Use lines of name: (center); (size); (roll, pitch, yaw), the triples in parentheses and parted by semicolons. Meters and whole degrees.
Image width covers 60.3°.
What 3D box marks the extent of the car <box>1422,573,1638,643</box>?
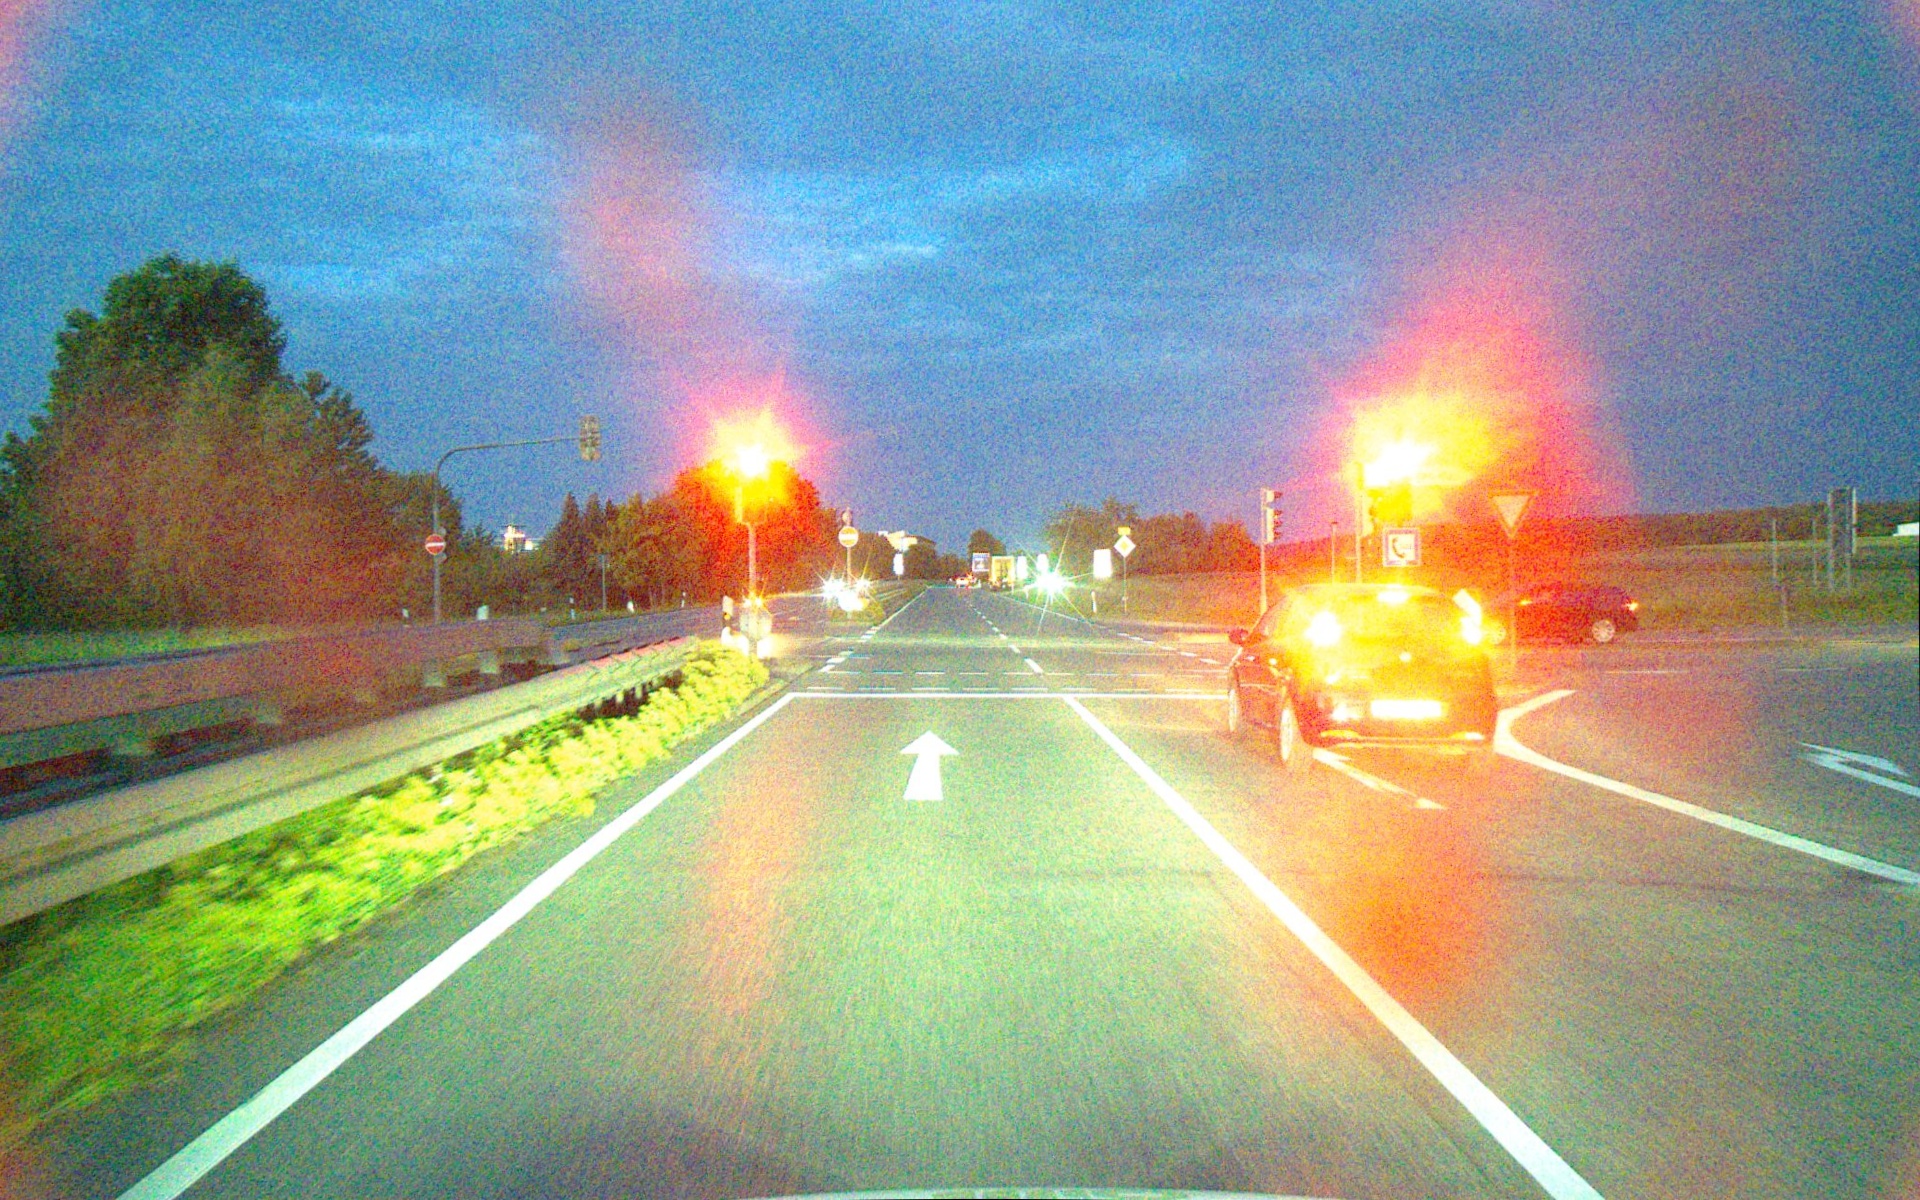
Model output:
car: (13.735, 0.176, 40.038); (4.507, 1.547, 2.000); (-1, 1, -1)

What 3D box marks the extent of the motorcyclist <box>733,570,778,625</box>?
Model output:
motorcyclist: (-6.133, -0.093, 49.566); (1.121, 1.612, 0.966); (-1, 1, -22)

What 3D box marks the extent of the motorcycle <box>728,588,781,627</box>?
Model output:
motorcycle: (-6.195, 0.214, 49.740); (0.965, 1.117, 2.492); (-1, 1, -22)

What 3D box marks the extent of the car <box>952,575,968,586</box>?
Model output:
car: (-0.017, -3.081, 255.425); (2.228, 1.660, 3.999); (-1, 1, -2)

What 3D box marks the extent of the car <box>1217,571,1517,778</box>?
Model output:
car: (3.379, 0.535, 14.494); (1.636, 1.547, 4.106); (0, 1, 0)

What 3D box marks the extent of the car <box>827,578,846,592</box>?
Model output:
car: (-14.330, -1.790, 191.835); (1.953, 1.545, 4.297); (-1, 1, -1)
